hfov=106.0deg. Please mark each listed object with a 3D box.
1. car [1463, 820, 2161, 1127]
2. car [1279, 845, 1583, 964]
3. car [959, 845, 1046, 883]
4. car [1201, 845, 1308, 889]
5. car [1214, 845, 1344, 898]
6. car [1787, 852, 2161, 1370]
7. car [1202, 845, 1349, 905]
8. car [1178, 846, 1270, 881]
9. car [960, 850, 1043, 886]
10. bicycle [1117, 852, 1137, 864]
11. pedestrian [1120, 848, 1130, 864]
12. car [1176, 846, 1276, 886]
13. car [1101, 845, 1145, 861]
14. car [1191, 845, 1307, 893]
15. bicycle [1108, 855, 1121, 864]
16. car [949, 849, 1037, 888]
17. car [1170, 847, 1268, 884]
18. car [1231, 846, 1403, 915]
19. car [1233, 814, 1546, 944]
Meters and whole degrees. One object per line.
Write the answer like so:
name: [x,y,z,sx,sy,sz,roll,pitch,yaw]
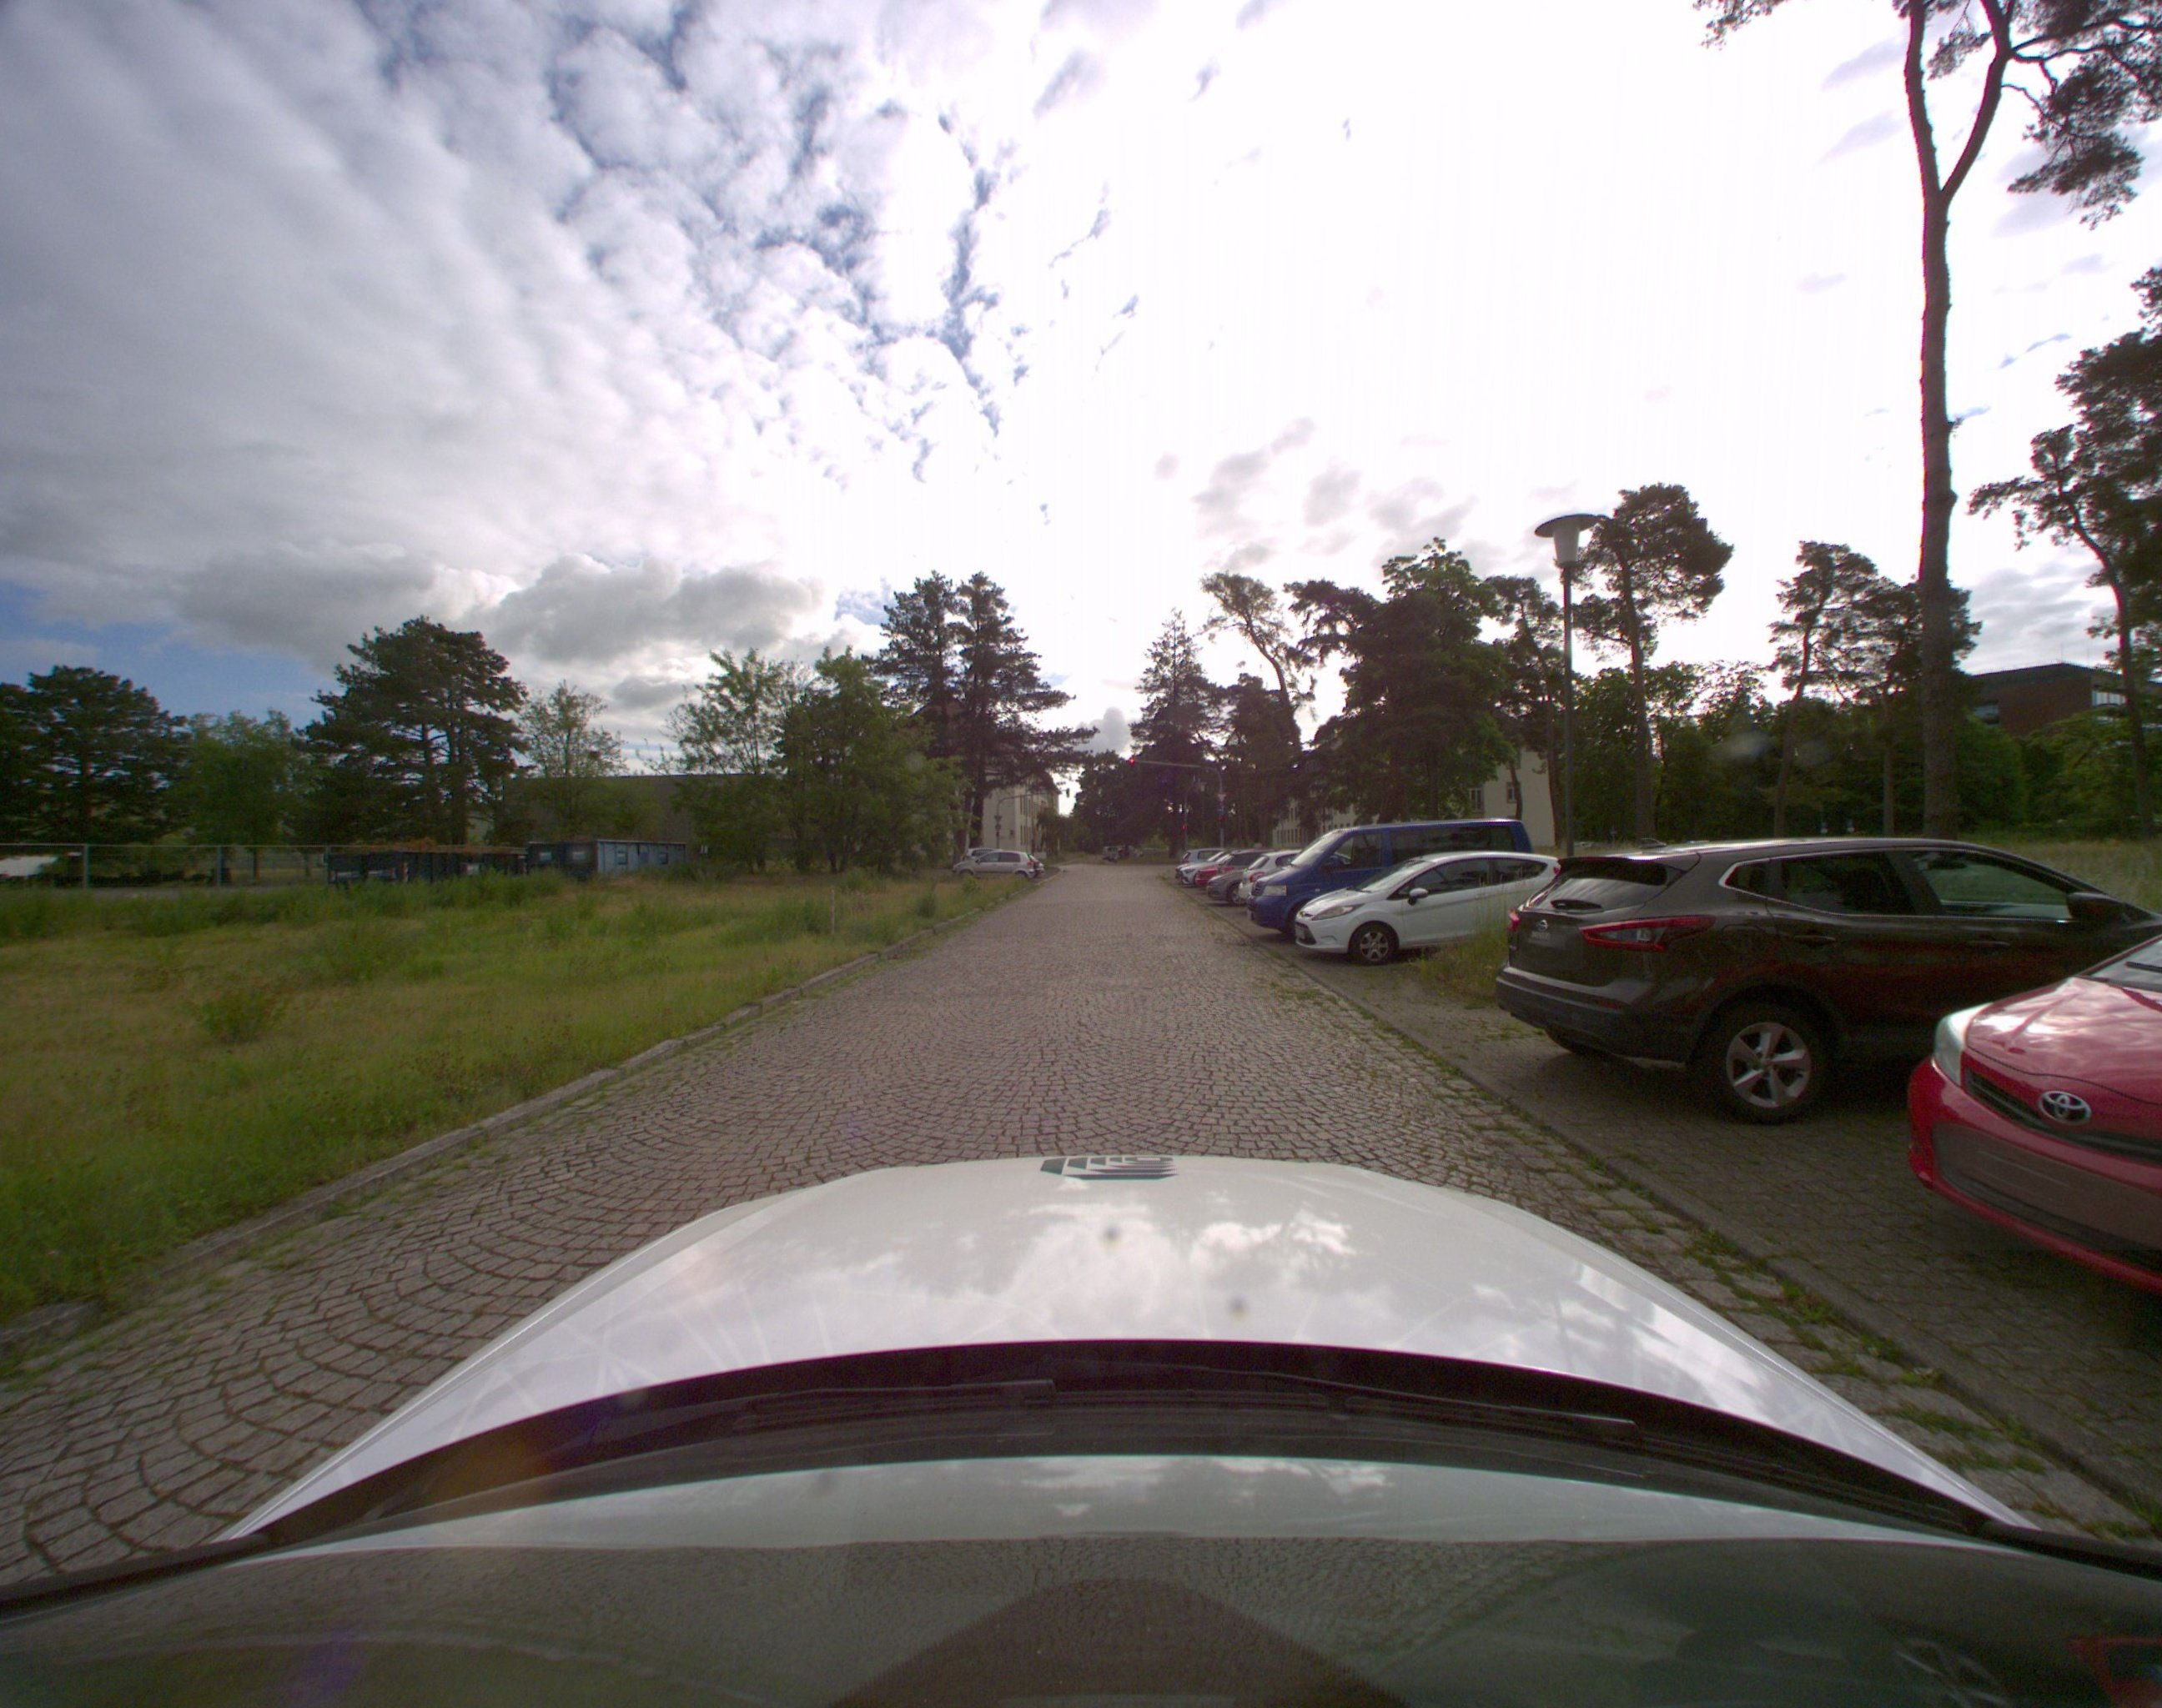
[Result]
car: [4.947,0.640,5.362,4.016,1.552,1.750,-2,0,-1]
car: [4.902,0.680,11.747,3.660,1.449,1.614,-2,0,-1]
car: [-4.087,0.514,42.761,4.246,1.840,1.744,-2,0,1]
car: [6.412,0.483,30.350,3.660,1.449,1.524,-2,0,0]
car: [6.104,0.526,25.363,3.660,1.449,1.524,-2,0,0]
car: [5.043,0.709,2.721,3.777,1.460,1.752,-2,0,2]
car: [5.286,0.568,22.396,3.660,1.449,1.524,-2,0,0]
car: [6.637,0.432,38.110,3.958,1.421,1.618,-2,0,-3]
car: [-3.856,0.684,39.764,3.807,1.572,1.565,-2,0,1]
bicycle: [4.922,0.413,87.135,2.131,1.214,0.621,0,0,-3]
pedestrian: [4.735,0.208,87.484,1.031,1.614,0.757,0,0,-3]
car: [5.763,0.483,32.624,3.663,1.421,1.522,-2,0,-3]
car: [5.406,-0.085,105.049,5.441,2.013,2.263,0,0,-7]
car: [5.734,0.499,28.083,3.660,1.449,1.524,-2,0,0]
bicycle: [3.460,0.535,83.105,0.623,0.945,1.649,0,0,-25]
car: [-3.995,0.658,37.349,3.811,1.572,1.563,-2,0,-2]
car: [5.963,0.473,35.476,3.958,1.421,1.618,-2,0,-3]
car: [5.597,0.608,19.605,3.660,1.449,1.524,-2,0,0]
car: [5.245,0.410,14.332,4.739,1.954,1.931,-2,0,0]
